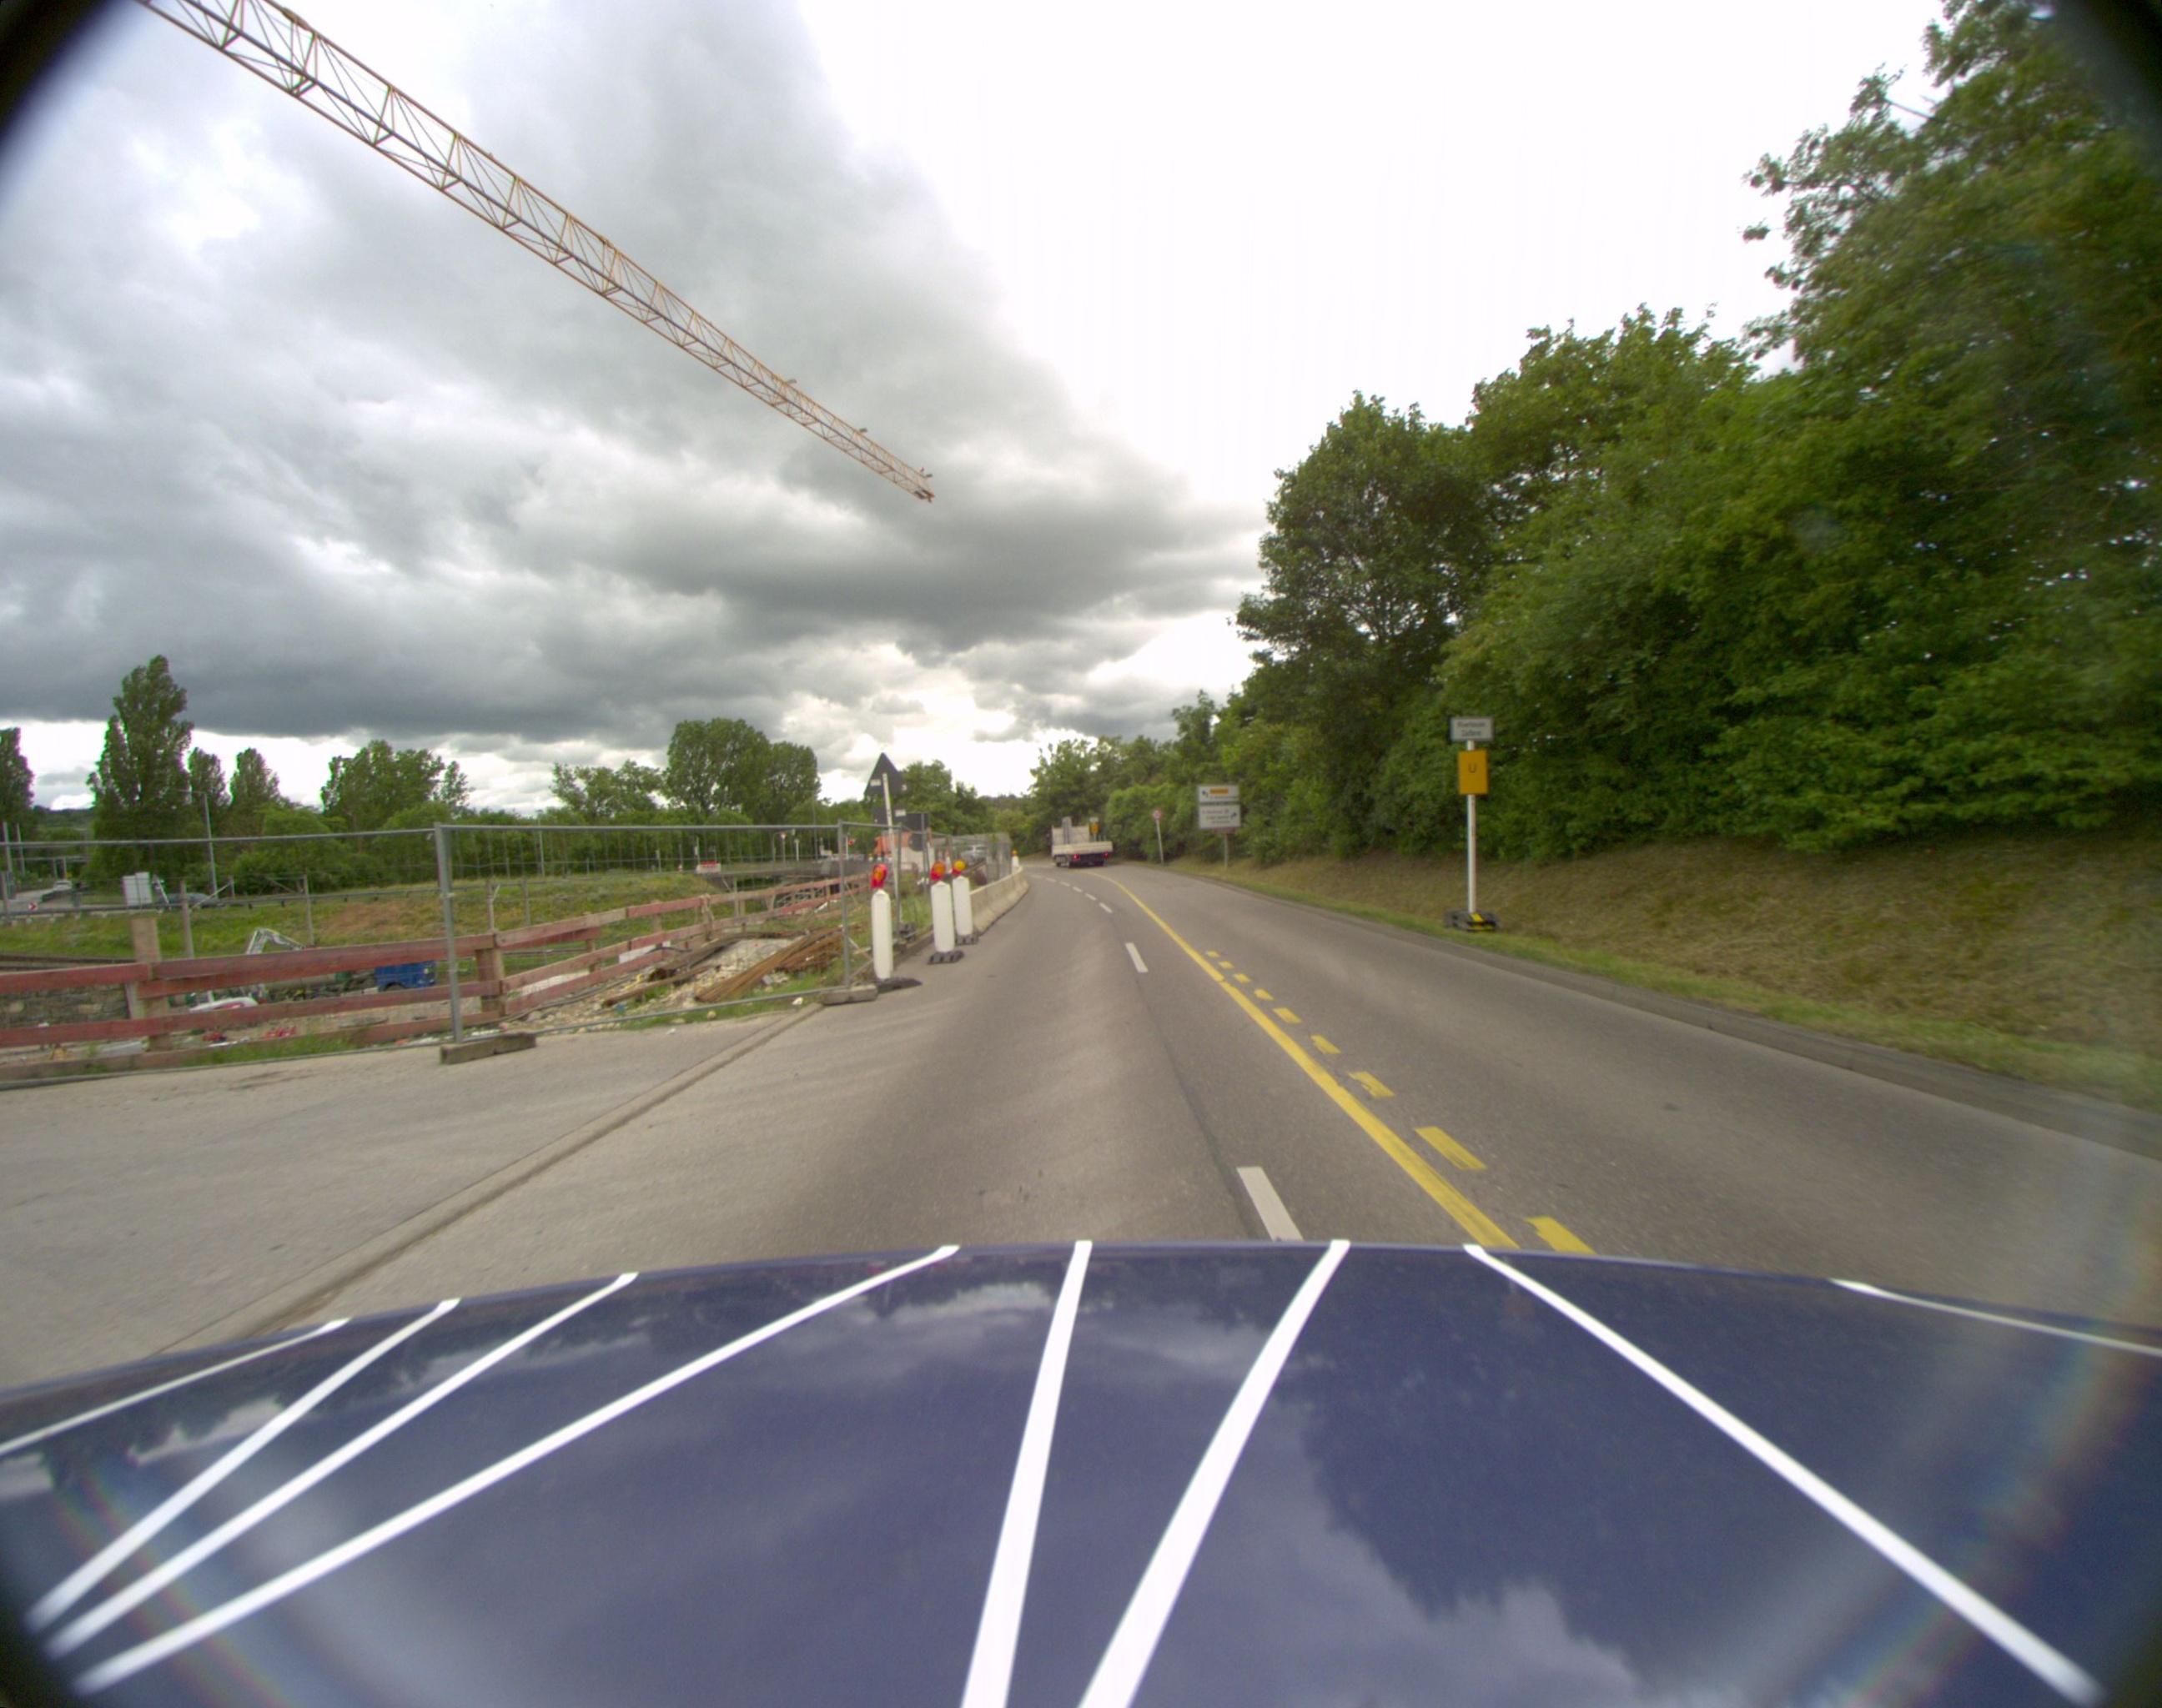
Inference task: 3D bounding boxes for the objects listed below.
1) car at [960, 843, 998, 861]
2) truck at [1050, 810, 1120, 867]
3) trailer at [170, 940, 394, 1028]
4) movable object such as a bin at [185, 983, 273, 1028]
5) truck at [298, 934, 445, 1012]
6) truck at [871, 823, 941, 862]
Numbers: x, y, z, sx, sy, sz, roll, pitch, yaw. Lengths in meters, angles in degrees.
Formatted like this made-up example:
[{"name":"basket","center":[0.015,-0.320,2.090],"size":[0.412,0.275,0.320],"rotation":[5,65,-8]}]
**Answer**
[{"name":"car","center":[-9.834,-0.199,73.087],"size":[1.897,1.554,4.090],"rotation":[-5,2,-33]},{"name":"truck","center":[0.111,-1.016,49.269],"size":[2.760,3.240,7.601],"rotation":[-4,2,-12]},{"name":"trailer","center":[-49.282,7.924,47.276],"size":[9.148,3.742,2.414],"rotation":[-6,3,-22]},{"name":"movable object such as a bin","center":[-47.715,8.473,42.609],"size":[1.999,1.818,2.443],"rotation":[-4,2,0]},{"name":"truck","center":[-45.385,7.544,48.834],"size":[6.136,3.742,2.414],"rotation":[-6,3,-22]},{"name":"truck","center":[-20.047,-1.230,86.545],"size":[3.046,3.876,9.975],"rotation":[-6,3,-42]}]
